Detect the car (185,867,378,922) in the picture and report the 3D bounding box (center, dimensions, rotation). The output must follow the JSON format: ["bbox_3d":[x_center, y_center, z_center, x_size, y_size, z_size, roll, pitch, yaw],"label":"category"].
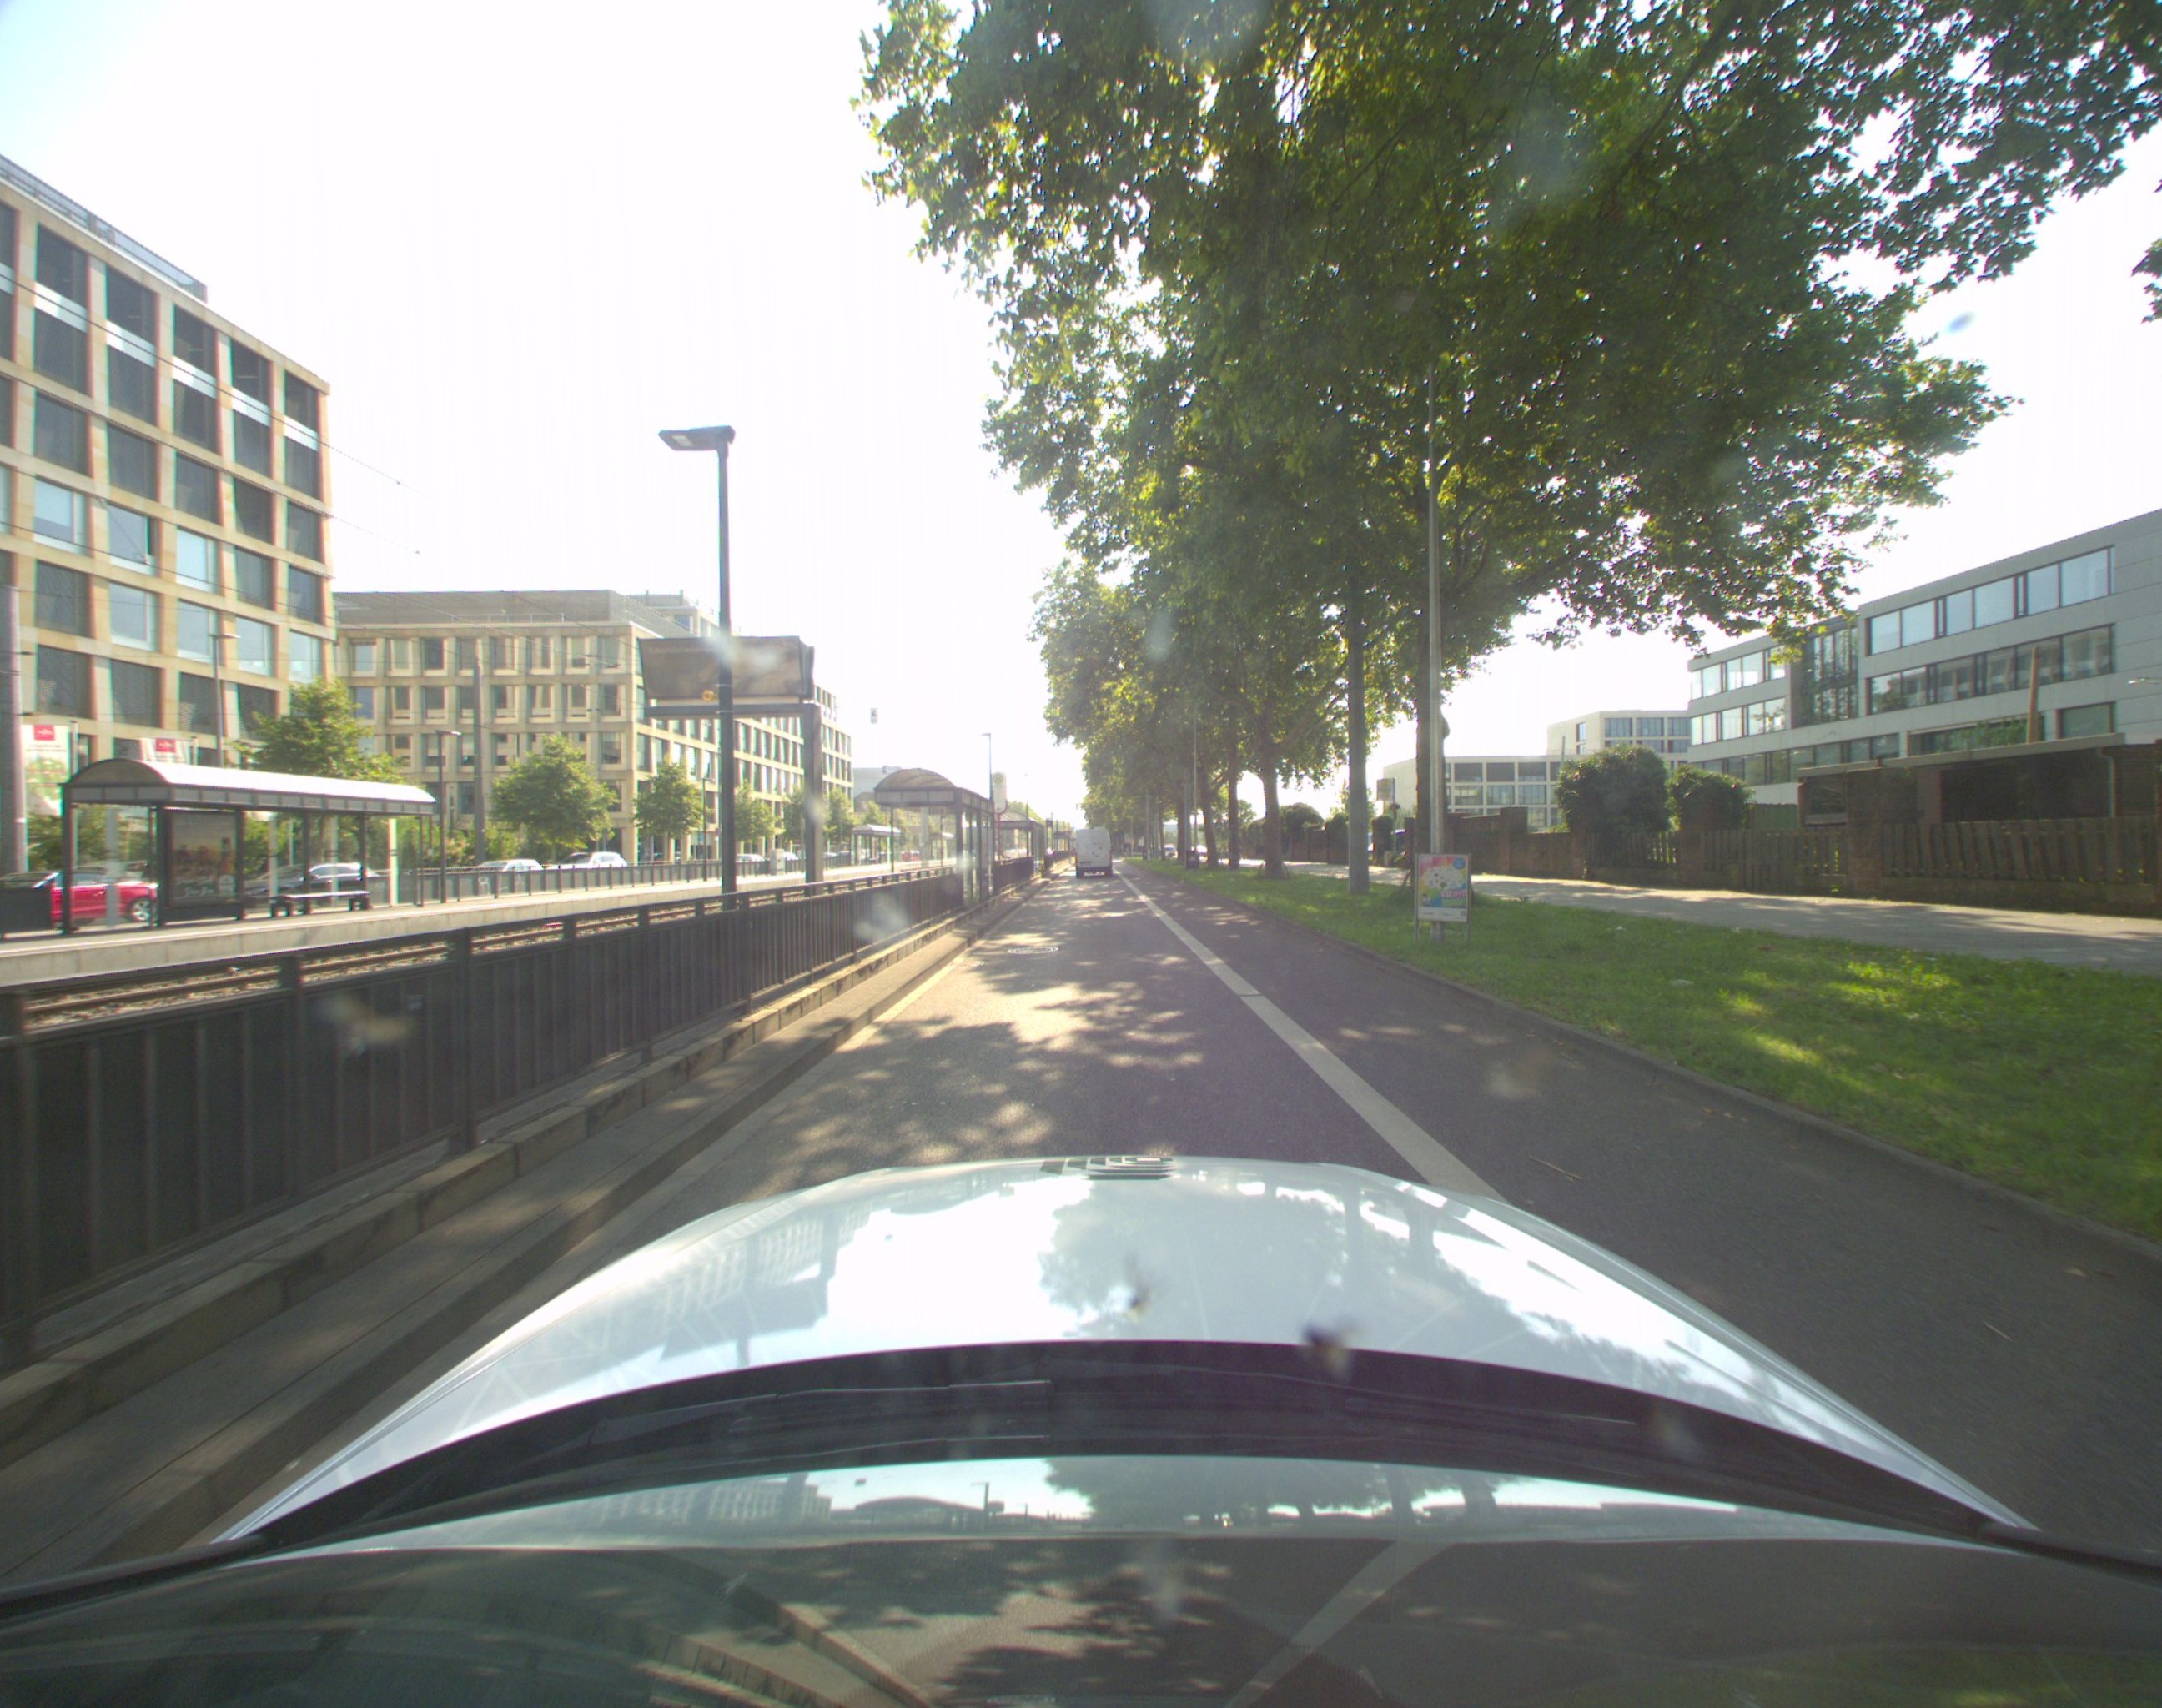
[{"bbox_3d":[-24.836,1.198,25.563,1.678,1.407,4.372,-2,1,0],"label":"car"}]

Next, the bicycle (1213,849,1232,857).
[{"bbox_3d":[14.656,-0.093,84.508,1.925,0.847,0.372,-1,0,0],"label":"bicycle"}]

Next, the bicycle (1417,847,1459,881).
[{"bbox_3d":[11.756,0.305,26.849,0.490,1.089,1.856,-1,1,-2],"label":"bicycle"}]

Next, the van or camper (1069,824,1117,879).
[{"bbox_3d":[0.589,-0.156,44.662,2.110,2.681,5.245,-5,1,-2],"label":"van or camper"}]

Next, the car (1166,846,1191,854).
[{"bbox_3d":[16.072,-0.639,134.719,3.974,1.376,2.000,0,-1,0],"label":"car"}]

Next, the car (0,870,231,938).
[{"bbox_3d":[-24.791,1.192,20.724,1.678,1.407,4.372,-2,1,0],"label":"car"}]

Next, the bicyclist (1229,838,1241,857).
[{"bbox_3d":[10.822,-0.446,57.373,0.667,1.276,0.728,-2,0,-1],"label":"bicyclist"}]

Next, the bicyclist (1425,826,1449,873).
[{"bbox_3d":[11.739,-0.158,26.862,0.468,1.539,0.596,-1,0,-2],"label":"bicyclist"}]

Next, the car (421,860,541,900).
[{"bbox_3d":[-24.578,1.019,33.567,1.678,1.407,4.372,-2,1,0],"label":"car"}]

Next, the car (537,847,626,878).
[{"bbox_3d":[-24.627,0.395,40.364,1.678,1.407,4.370,-2,1,0],"label":"car"}]

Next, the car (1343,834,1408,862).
[{"bbox_3d":[20.451,-0.431,56.636,3.991,1.842,1.560,-1,0,-2],"label":"car"}]

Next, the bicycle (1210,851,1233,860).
[{"bbox_3d":[14.097,0.128,81.632,2.172,0.847,0.503,-2,0,0],"label":"bicycle"}]

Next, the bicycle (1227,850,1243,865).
[{"bbox_3d":[10.806,0.222,57.294,0.679,1.005,2.217,-2,0,0],"label":"bicycle"}]
